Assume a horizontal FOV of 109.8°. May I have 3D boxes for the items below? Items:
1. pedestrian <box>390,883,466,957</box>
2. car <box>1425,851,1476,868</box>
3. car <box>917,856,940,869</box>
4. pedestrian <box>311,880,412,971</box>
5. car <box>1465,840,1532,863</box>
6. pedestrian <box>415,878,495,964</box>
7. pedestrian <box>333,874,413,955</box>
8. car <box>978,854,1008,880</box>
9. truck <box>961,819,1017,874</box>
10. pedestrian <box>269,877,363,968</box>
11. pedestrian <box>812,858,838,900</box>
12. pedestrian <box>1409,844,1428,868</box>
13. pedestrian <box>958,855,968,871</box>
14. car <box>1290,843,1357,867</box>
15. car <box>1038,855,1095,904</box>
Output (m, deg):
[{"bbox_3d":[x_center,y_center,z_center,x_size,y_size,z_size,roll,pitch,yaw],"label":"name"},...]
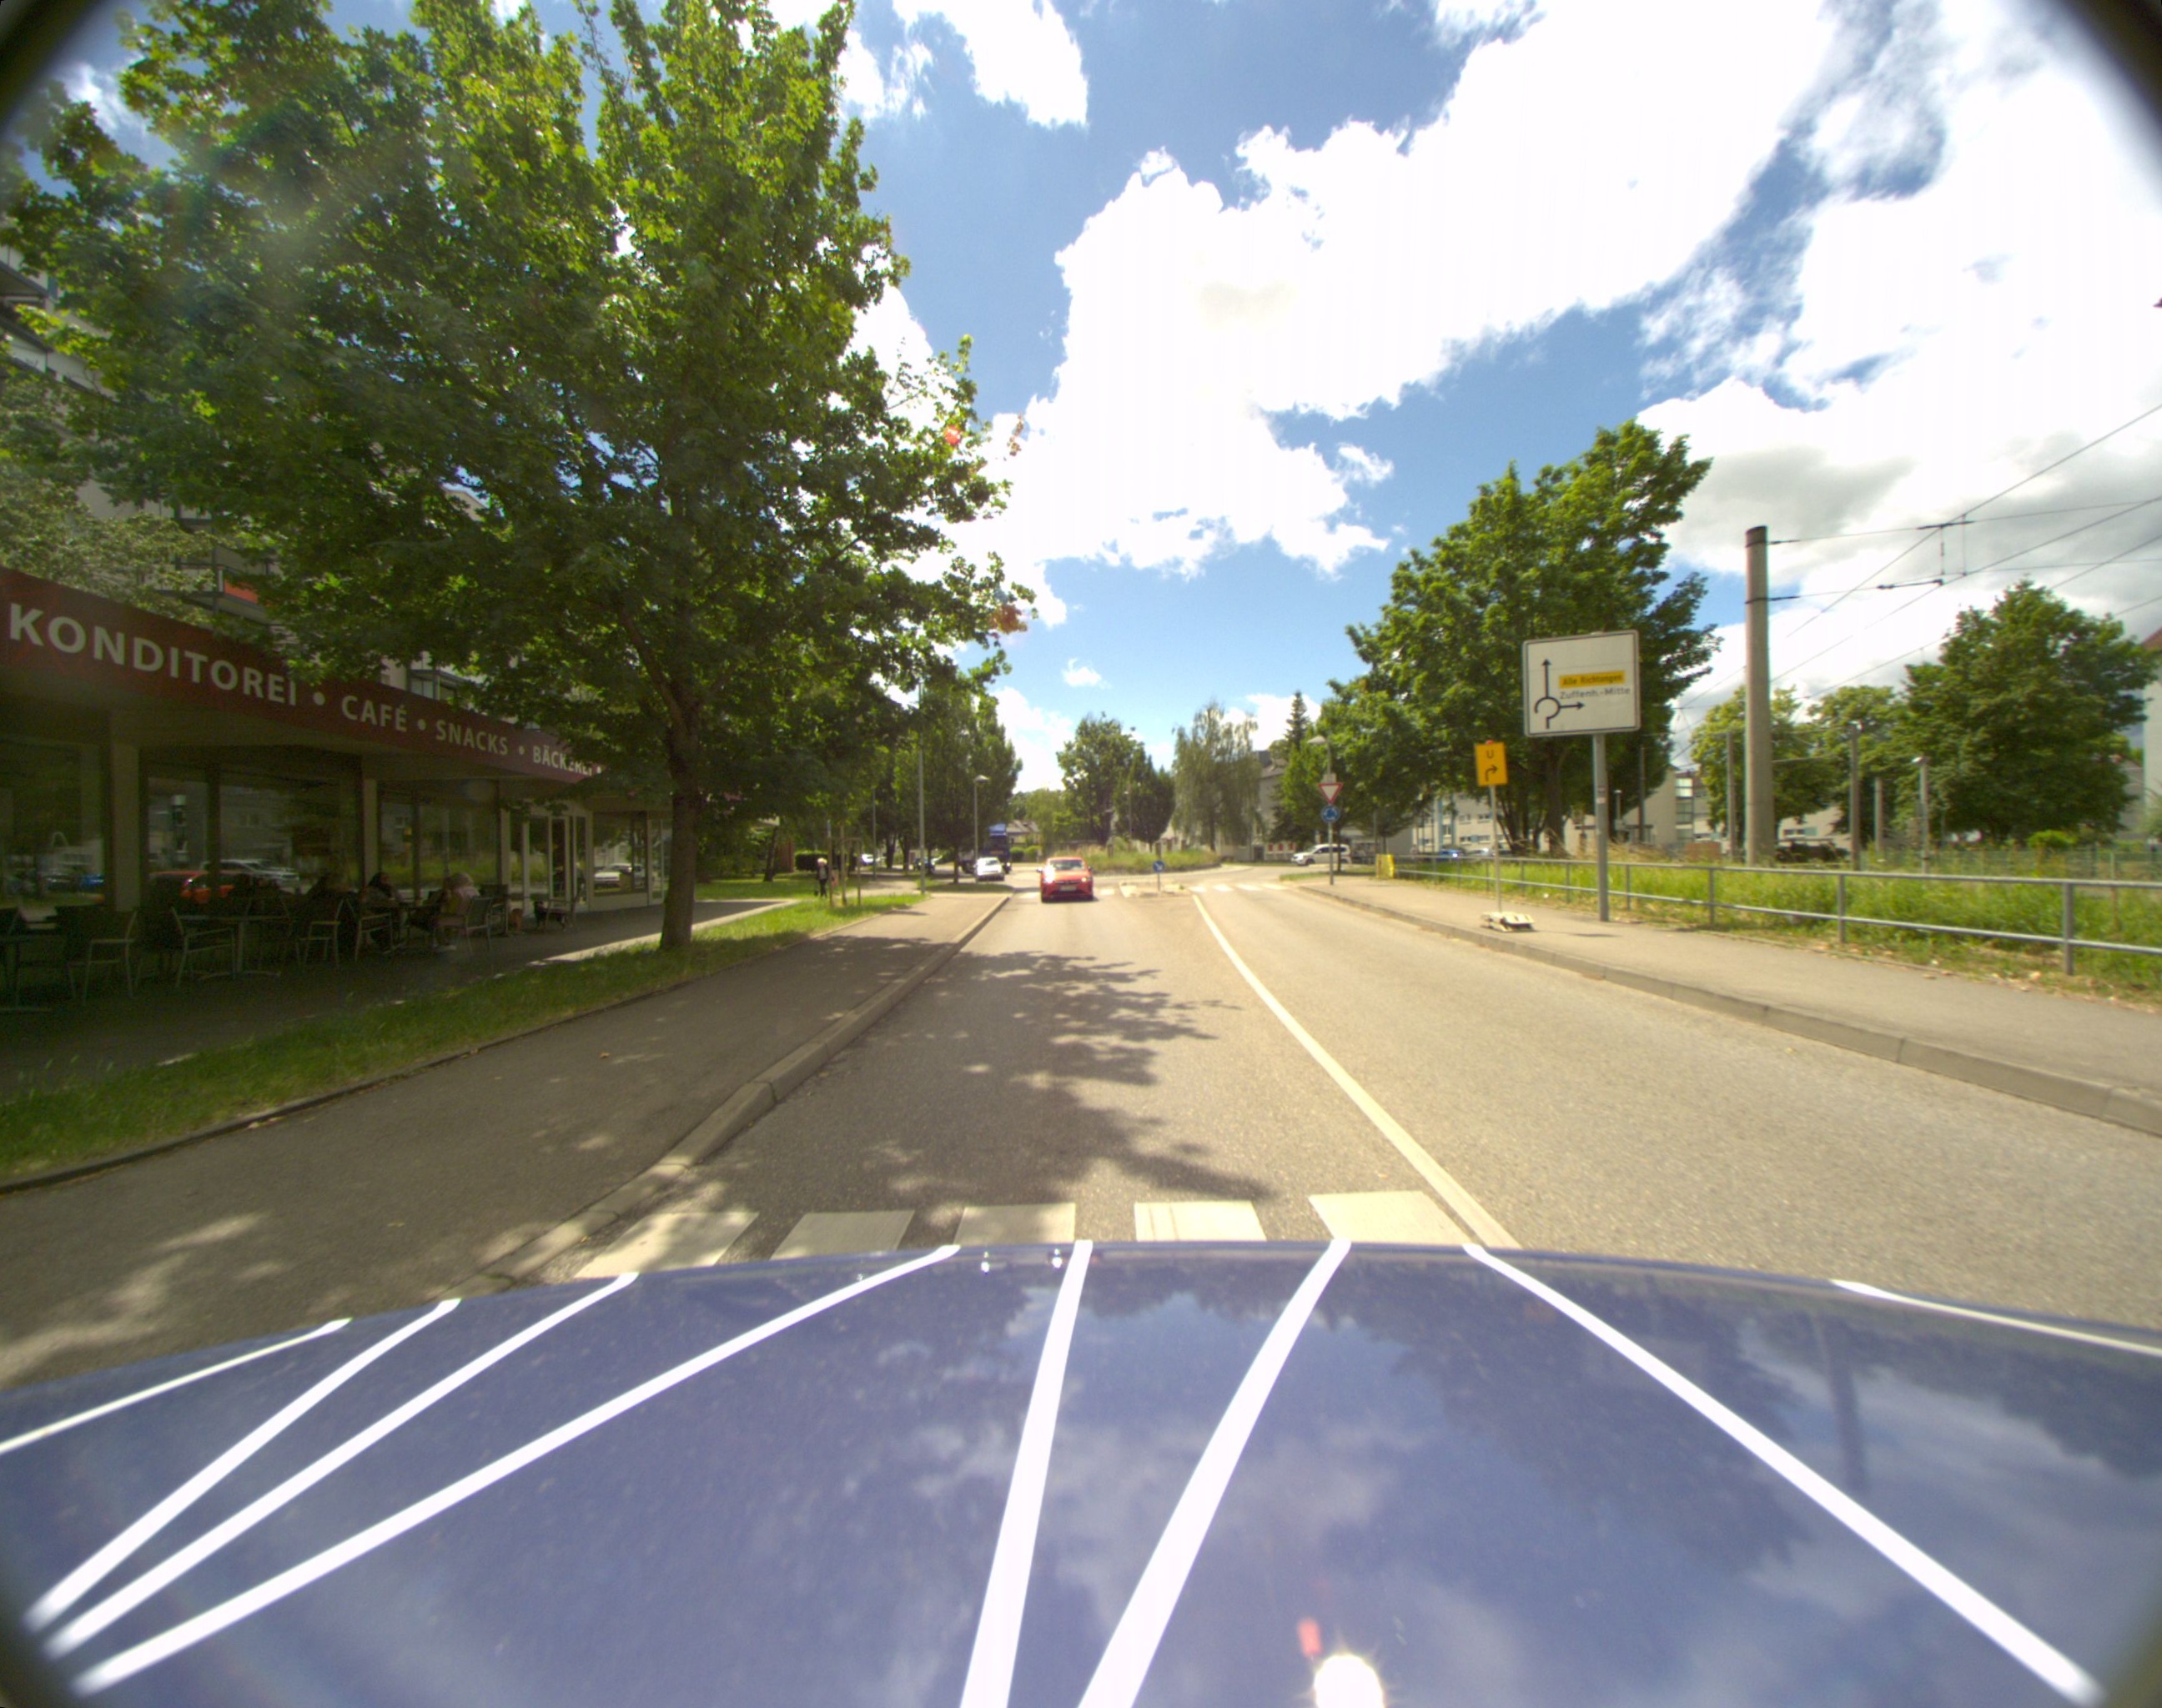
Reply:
[{"bbox_3d":[-10.663,1.064,12.428,0.674,1.145,0.677,1,1,-8],"label":"pedestrian"},{"bbox_3d":[34.070,0.490,70.192,1.811,1.514,4.116,-1,0,-20],"label":"car"},{"bbox_3d":[-16.159,0.874,80.319,1.811,1.346,3.993,-1,0,-19],"label":"car"},{"bbox_3d":[-10.375,1.010,10.986,0.674,1.259,0.826,1,-2,-8],"label":"pedestrian"},{"bbox_3d":[34.630,-0.218,63.073,4.619,1.786,1.998,-1,1,-9],"label":"car"},{"bbox_3d":[-9.727,1.019,11.821,0.677,1.259,0.674,2,1,5],"label":"pedestrian"},{"bbox_3d":[-11.461,0.966,12.317,0.674,1.259,0.677,1,1,-8],"label":"pedestrian"},{"bbox_3d":[-5.594,0.791,47.838,1.762,1.514,3.822,-1,0,-8],"label":"car"},{"bbox_3d":[-7.532,-0.564,60.905,2.633,4.069,9.593,-1,0,-18],"label":"truck"},{"bbox_3d":[-11.142,0.982,11.090,0.677,1.259,0.674,1,0,-6],"label":"pedestrian"},{"bbox_3d":[-9.504,0.922,28.193,0.726,1.529,0.654,-1,1,-3],"label":"pedestrian"},{"bbox_3d":[24.411,0.135,54.954,0.875,1.655,1.022,-1,1,1],"label":"pedestrian"},{"bbox_3d":[-10.965,0.842,70.491,0.691,1.416,0.922,-1,1,5],"label":"pedestrian"},{"bbox_3d":[19.033,0.049,59.810,4.618,1.786,1.999,-1,1,-7],"label":"car"},{"bbox_3d":[-0.489,0.803,25.622,1.712,1.439,3.669,-2,0,-1],"label":"car"}]
